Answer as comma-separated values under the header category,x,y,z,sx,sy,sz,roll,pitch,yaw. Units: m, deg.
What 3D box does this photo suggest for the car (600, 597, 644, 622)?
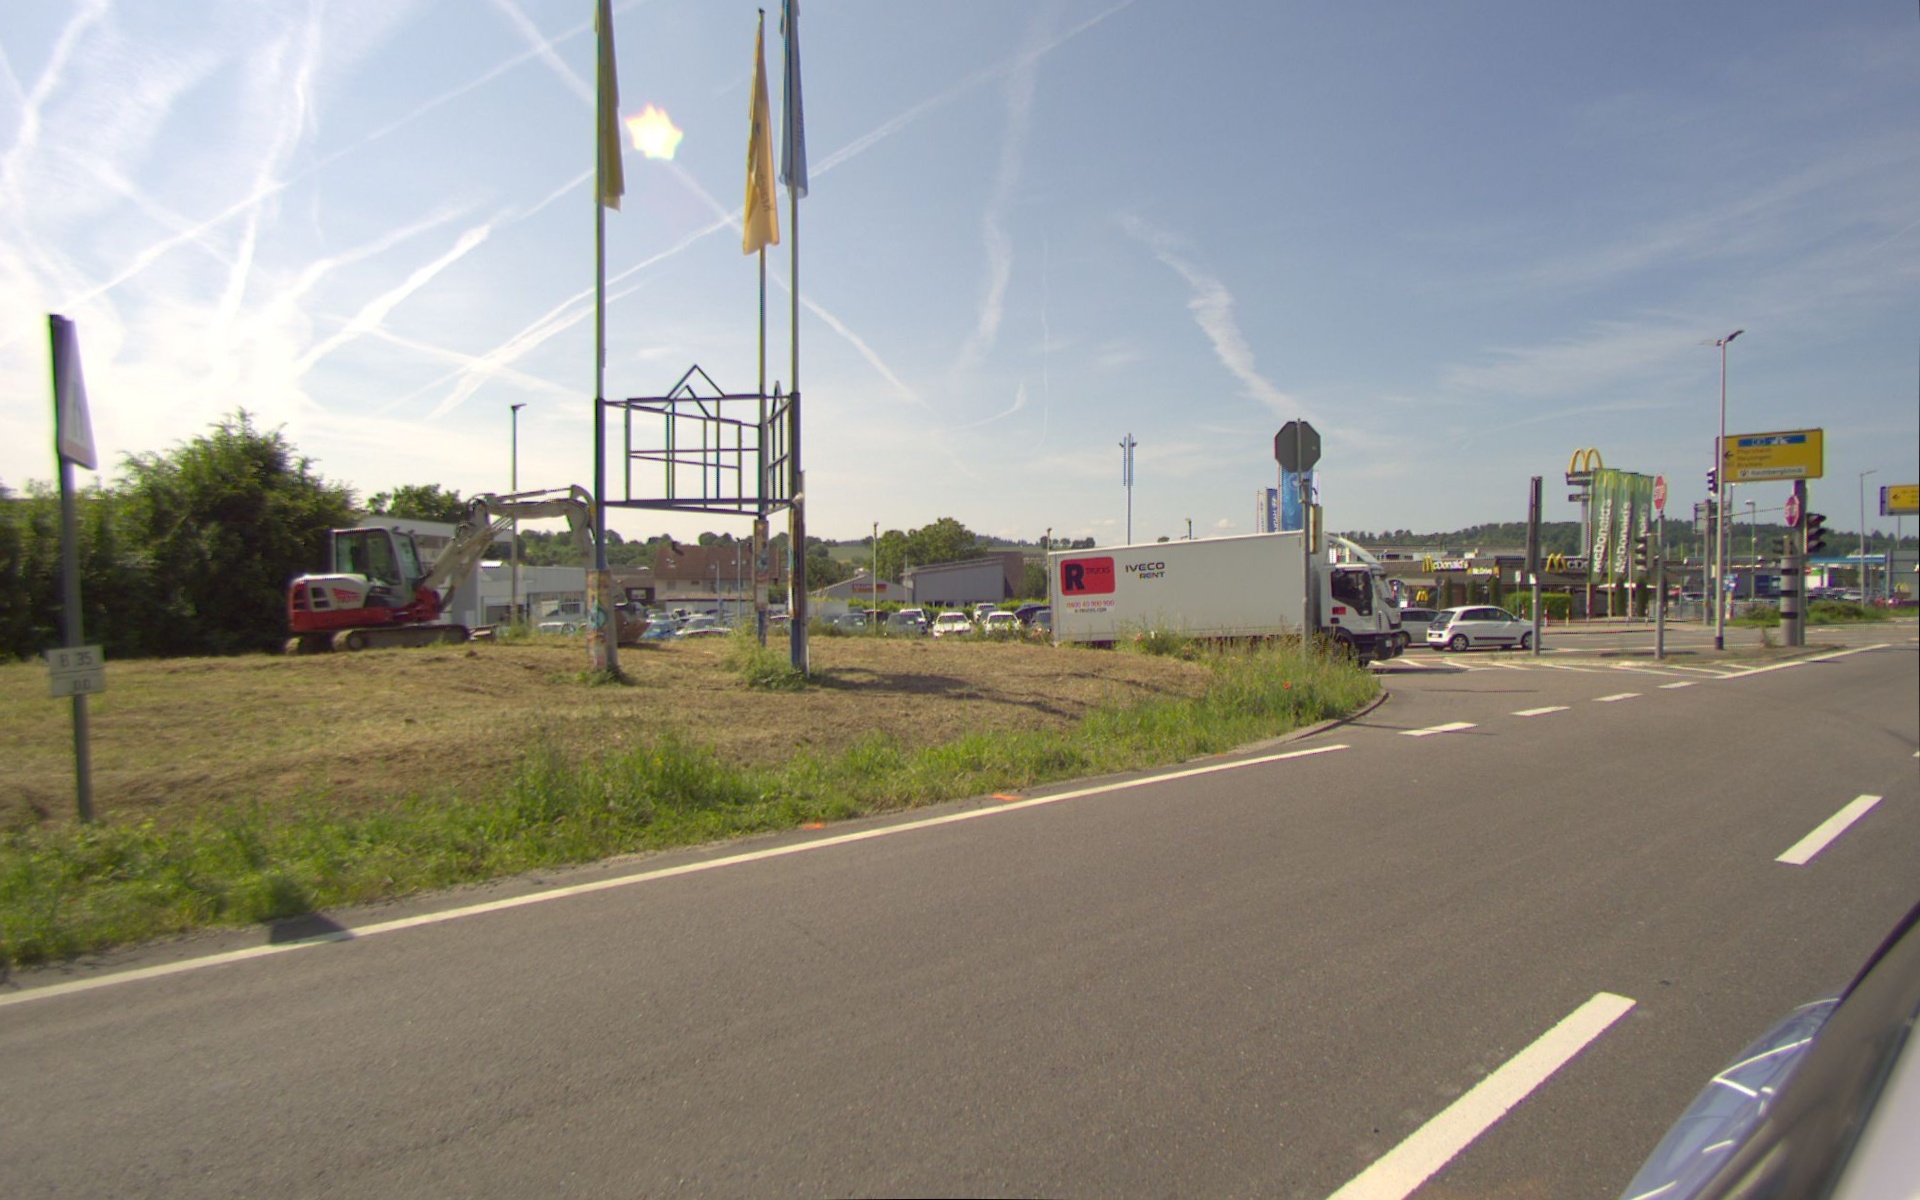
category,x,y,z,sx,sy,sz,roll,pitch,yaw
car,-25.415,0.696,76.169,1.971,1.638,4.191,1,2,0

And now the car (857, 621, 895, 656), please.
category,x,y,z,sx,sy,sz,roll,pitch,yaw
car,-4.606,2.111,56.144,1.969,1.638,4.085,1,2,-3

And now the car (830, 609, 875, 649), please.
category,x,y,z,sx,sy,sz,roll,pitch,yaw
car,-5.221,1.361,49.029,2.049,1.638,3.933,1,2,-6

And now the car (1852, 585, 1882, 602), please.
category,x,y,z,sx,sy,sz,roll,pitch,yaw
car,94.879,-0.711,105.856,4.630,1.675,1.905,-1,2,-43

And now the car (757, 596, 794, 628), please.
category,x,y,z,sx,sy,sz,roll,pitch,yaw
car,-10.487,0.638,57.865,1.967,1.638,4.089,1,2,-9

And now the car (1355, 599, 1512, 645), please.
category,x,y,z,sx,sy,sz,roll,pitch,yaw
car,17.890,0.819,38.406,4.906,1.524,1.999,-2,0,1

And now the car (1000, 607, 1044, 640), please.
category,x,y,z,sx,sy,sz,roll,pitch,yaw
car,3.479,1.294,57.549,1.969,1.638,4.085,1,2,-3

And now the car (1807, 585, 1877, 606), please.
category,x,y,z,sx,sy,sz,roll,pitch,yaw
car,74.149,-0.388,85.113,3.977,1.691,1.764,2,2,22

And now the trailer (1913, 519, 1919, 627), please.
category,x,y,z,sx,sy,sz,roll,pitch,yaw
trailer,37.397,-1.020,37.341,2.605,4.279,11.127,2,2,41

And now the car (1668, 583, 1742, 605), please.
category,x,y,z,sx,sy,sz,roll,pitch,yaw
car,61.121,-0.492,83.054,4.724,1.691,1.914,1,2,-3

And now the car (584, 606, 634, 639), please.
category,x,y,z,sx,sy,sz,roll,pitch,yaw
car,-19.767,1.229,57.170,1.967,1.638,4.089,1,2,-9

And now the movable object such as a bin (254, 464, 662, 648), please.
category,x,y,z,sx,sy,sz,roll,pitch,yaw
movable object such as a bin,-9.530,-0.833,19.868,6.573,3.247,2.904,1,2,-3

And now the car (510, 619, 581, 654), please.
category,x,y,z,sx,sy,sz,roll,pitch,yaw
car,-19.897,1.724,48.762,1.961,1.389,4.004,1,2,-3

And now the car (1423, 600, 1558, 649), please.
category,x,y,z,sx,sy,sz,roll,pitch,yaw
car,18.371,0.833,35.152,3.684,1.523,1.711,-2,0,0

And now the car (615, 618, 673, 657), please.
category,x,y,z,sx,sy,sz,roll,pitch,yaw
car,-15.194,1.776,48.846,1.959,1.571,4.007,1,2,-7

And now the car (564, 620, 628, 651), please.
category,x,y,z,sx,sy,sz,roll,pitch,yaw
car,-17.467,1.678,48.721,1.960,1.204,4.005,1,2,-5

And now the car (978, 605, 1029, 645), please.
category,x,y,z,sx,sy,sz,roll,pitch,yaw
car,2.063,1.175,49.467,1.960,1.638,4.485,1,2,-4

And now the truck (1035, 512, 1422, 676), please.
category,x,y,z,sx,sy,sz,roll,pitch,yaw
truck,6.975,0.030,27.443,9.631,3.674,2.734,-4,-2,34

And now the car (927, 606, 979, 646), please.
category,x,y,z,sx,sy,sz,roll,pitch,yaw
car,-0.394,1.236,49.322,2.049,1.638,4.481,1,2,-6

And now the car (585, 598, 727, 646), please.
category,x,y,z,sx,sy,sz,roll,pitch,yaw
car,-10.387,0.739,34.791,4.241,1.478,1.999,-1,2,3

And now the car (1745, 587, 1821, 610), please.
category,x,y,z,sx,sy,sz,roll,pitch,yaw
car,61.829,-0.116,76.075,4.150,1.595,1.862,1,2,-3

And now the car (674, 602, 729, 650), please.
category,x,y,z,sx,sy,sz,roll,pitch,yaw
car,-12.439,1.194,48.937,2.027,2.060,4.088,1,2,-6

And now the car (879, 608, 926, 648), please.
category,x,y,z,sx,sy,sz,roll,pitch,yaw
car,-2.815,1.330,49.089,2.049,1.638,4.041,1,2,-6
